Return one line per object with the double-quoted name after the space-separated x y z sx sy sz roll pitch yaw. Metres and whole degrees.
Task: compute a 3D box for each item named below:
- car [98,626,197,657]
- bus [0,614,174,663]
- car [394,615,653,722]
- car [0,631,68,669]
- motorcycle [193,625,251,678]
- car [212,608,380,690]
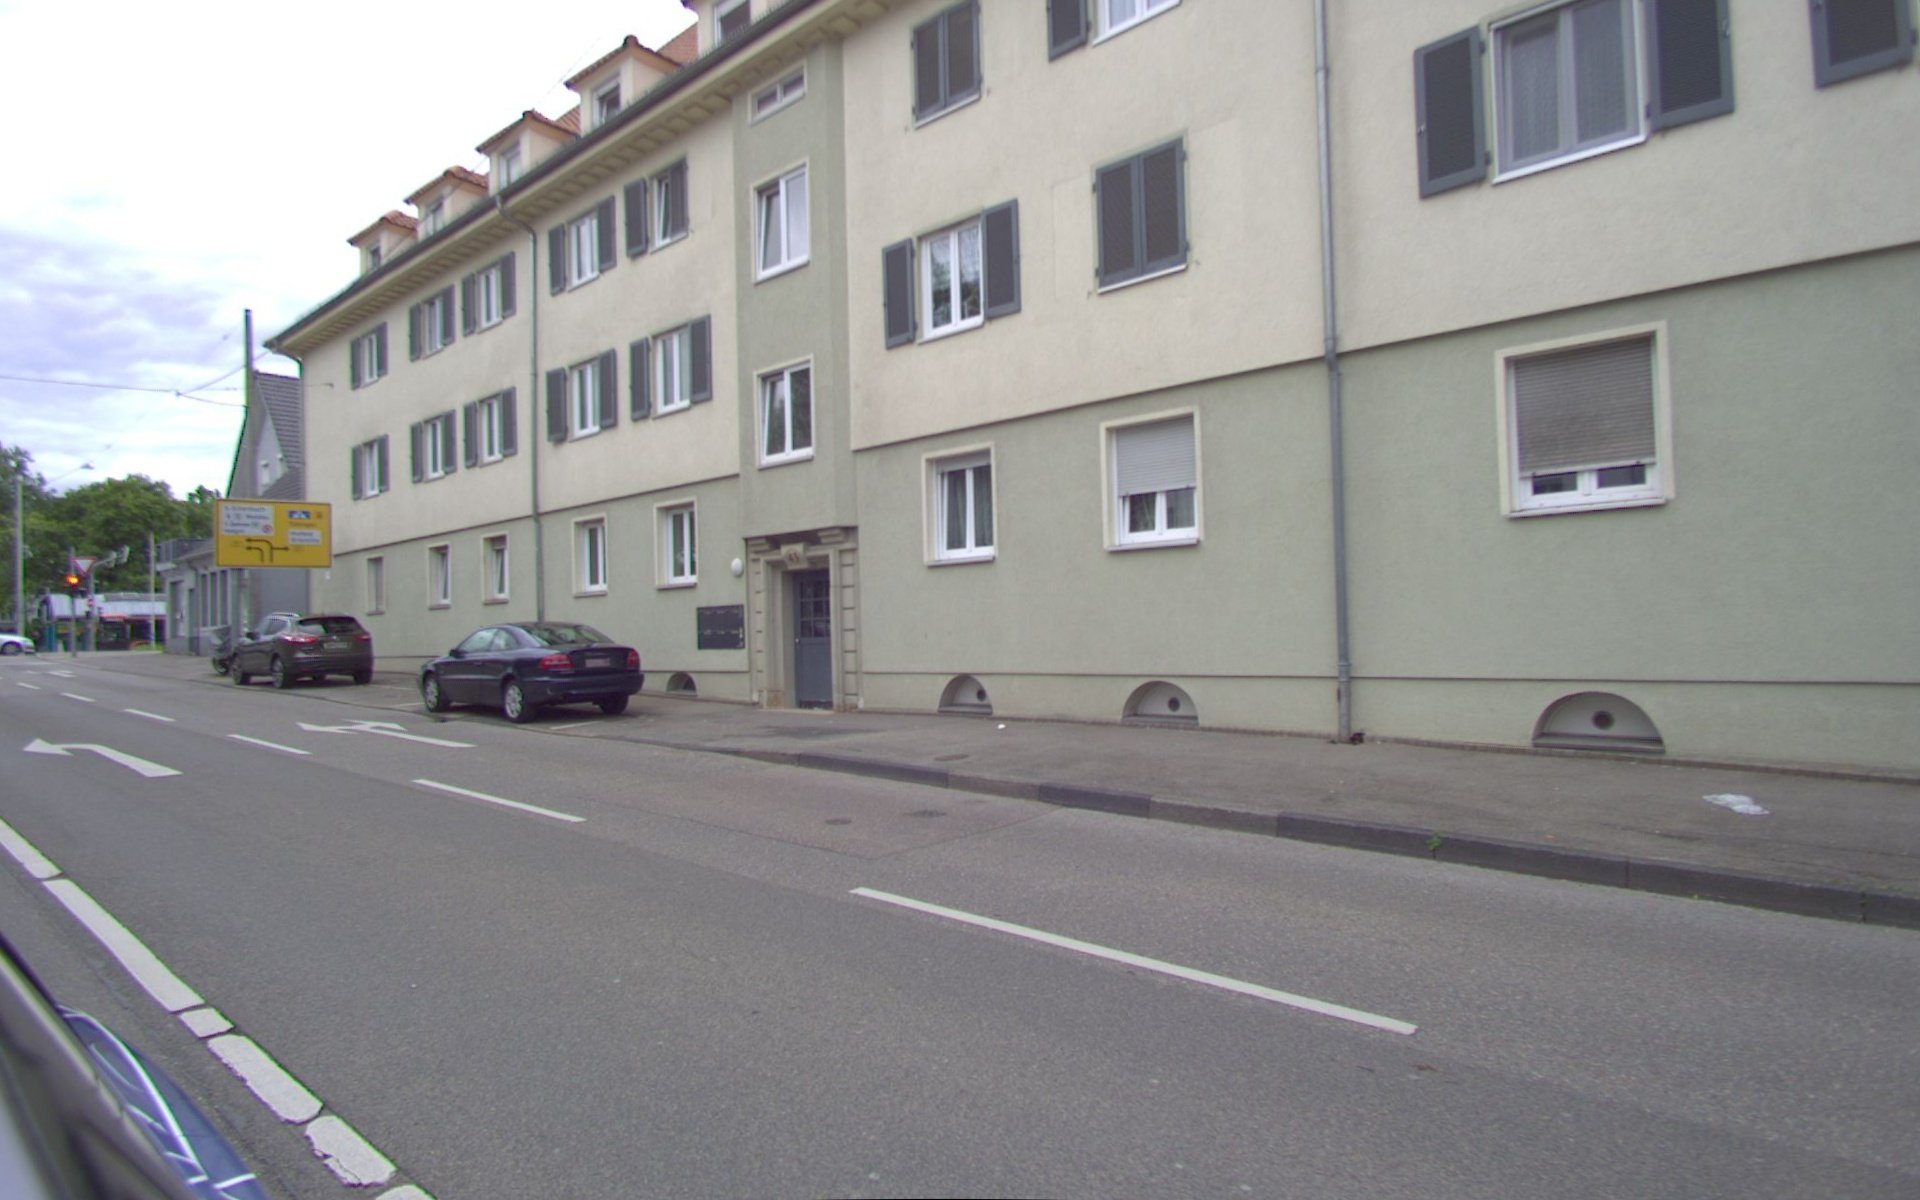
-42.625 2.165 53.143 3.938 1.523 2.003 2 -3 -41 "car"
-59.817 2.549 67.316 2.000 3.086 11.689 -5 -4 43 "bus"
-6.872 0.975 15.670 4.841 1.414 1.693 -2 -2 40 "car"
-43.432 2.259 46.001 1.970 1.706 3.953 -1 -2 34 "car"
-18.958 1.310 25.979 2.227 1.300 0.619 -2 0 39 "motorcycle"
-14.966 1.051 22.703 4.691 1.645 1.804 -2 -1 39 "car"
